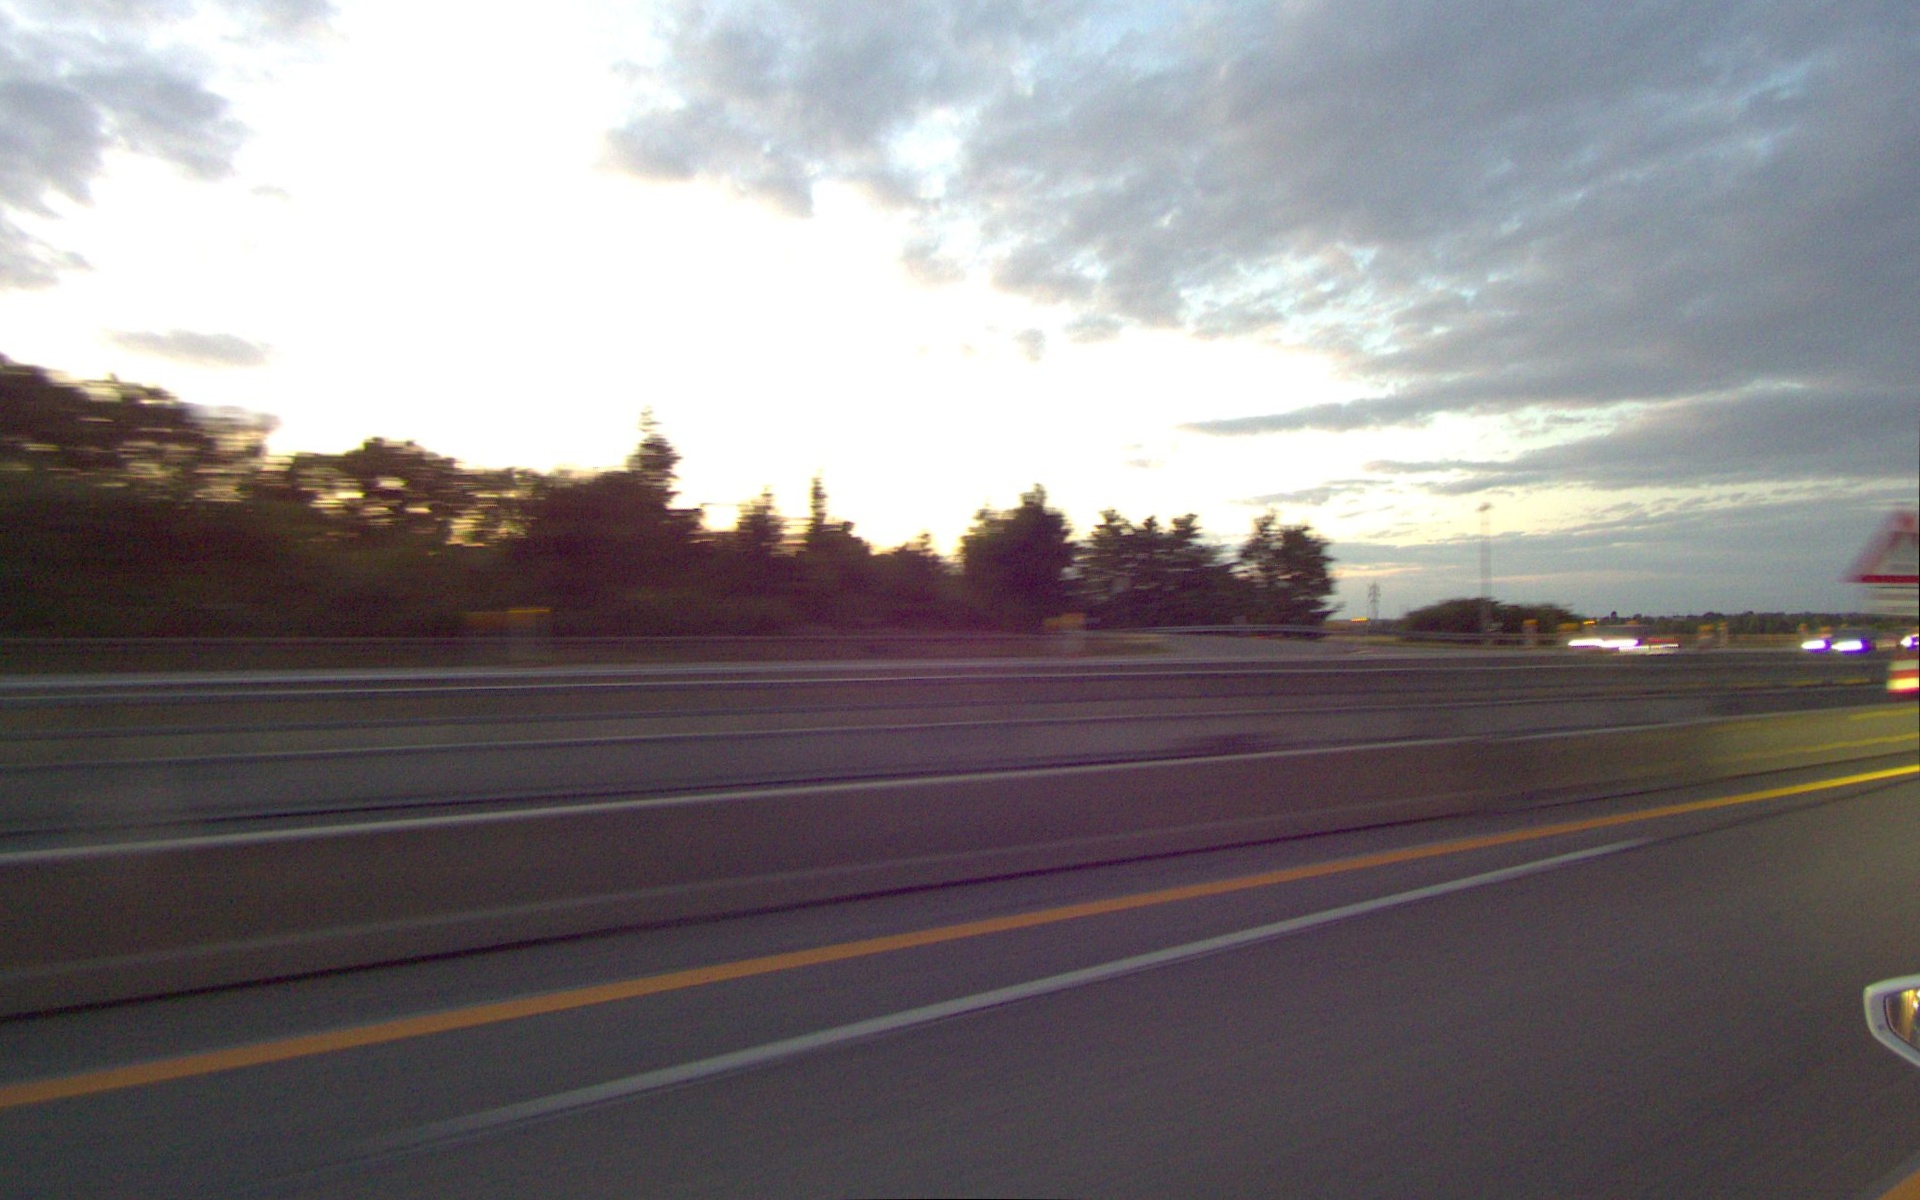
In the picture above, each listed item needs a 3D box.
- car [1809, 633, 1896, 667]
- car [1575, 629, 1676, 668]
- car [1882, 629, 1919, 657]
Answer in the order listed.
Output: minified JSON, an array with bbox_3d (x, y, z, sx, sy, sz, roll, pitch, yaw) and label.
[{"bbox_3d":[42.633,2.388,47.958,4.635,1.483,1.755,2,0,-31],"label":"car"},{"bbox_3d":[28.191,2.038,42.545,4.087,1.483,1.983,2,0,-31],"label":"car"},{"bbox_3d":[56.574,2.530,59.444,4.373,1.569,1.755,2,0,-31],"label":"car"}]
